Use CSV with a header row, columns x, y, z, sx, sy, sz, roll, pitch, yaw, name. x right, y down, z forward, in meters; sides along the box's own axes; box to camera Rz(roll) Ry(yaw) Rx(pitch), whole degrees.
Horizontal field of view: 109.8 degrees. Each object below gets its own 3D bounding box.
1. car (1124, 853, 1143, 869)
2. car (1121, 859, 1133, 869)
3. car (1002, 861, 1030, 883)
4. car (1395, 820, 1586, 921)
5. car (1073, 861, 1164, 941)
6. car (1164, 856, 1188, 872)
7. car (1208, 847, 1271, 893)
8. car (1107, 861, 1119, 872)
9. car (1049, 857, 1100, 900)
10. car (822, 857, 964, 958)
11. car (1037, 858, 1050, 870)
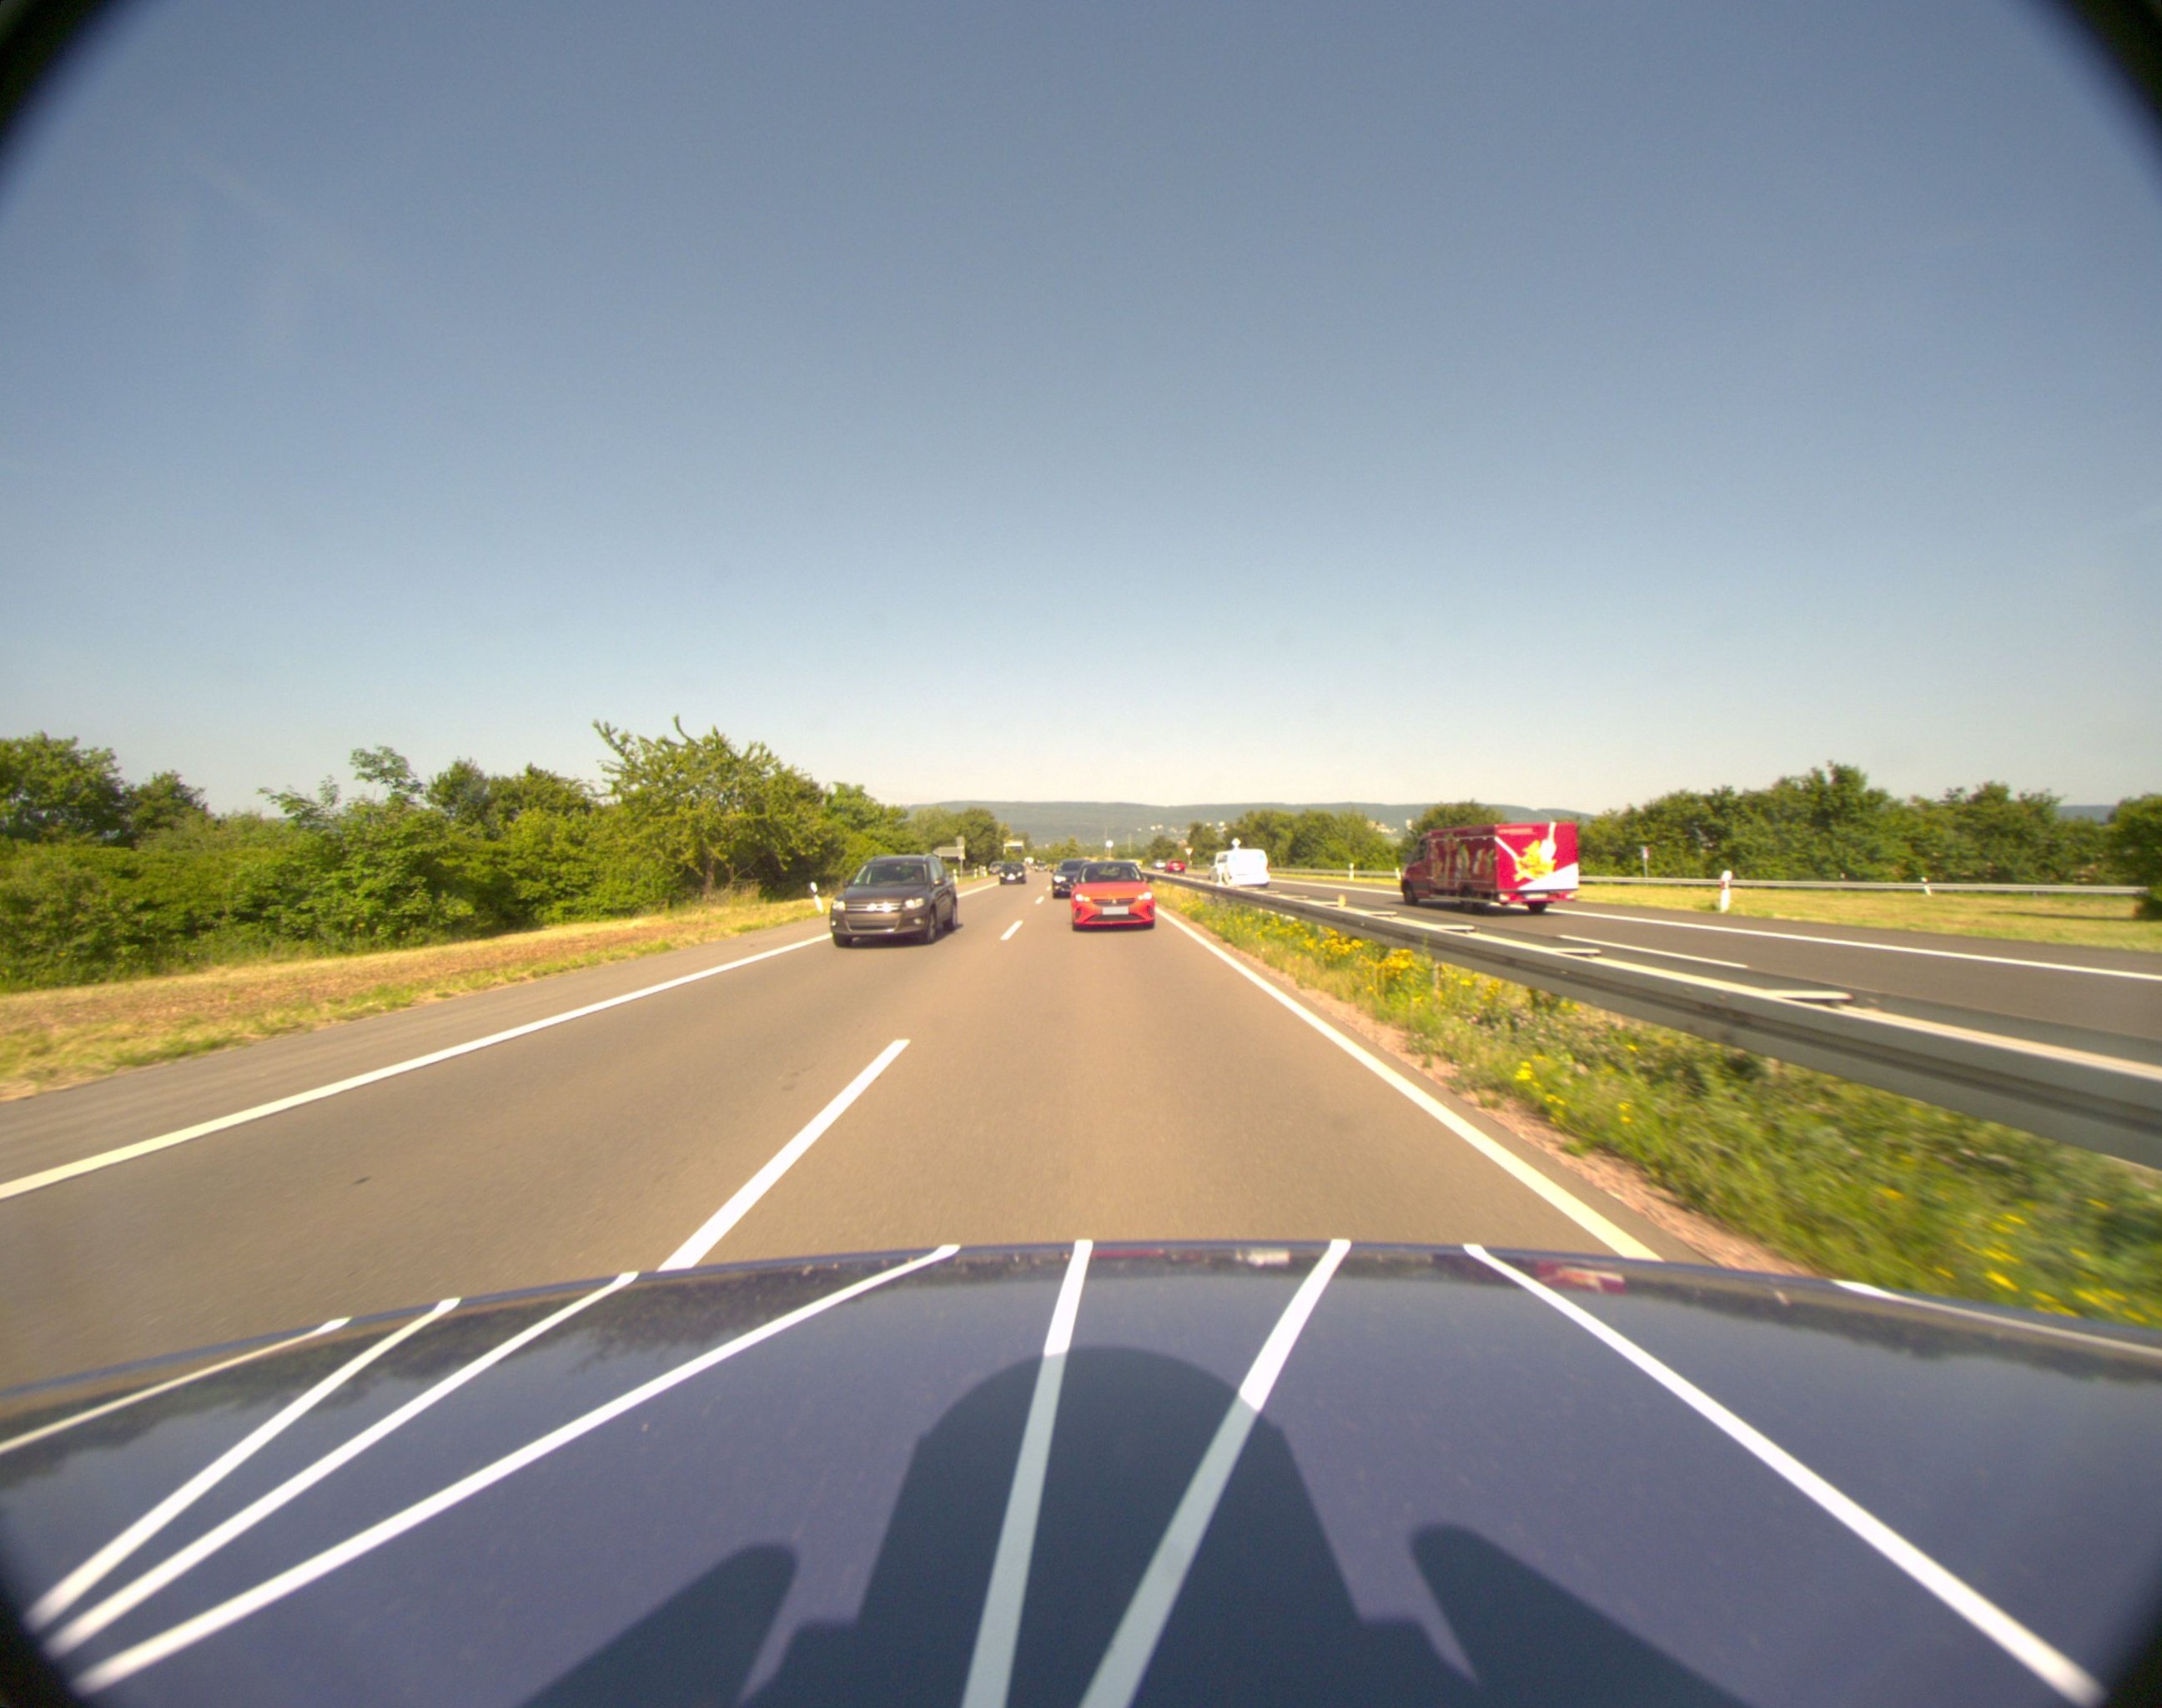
x,y,z,sx,sy,sz,roll,pitch,yaw,name
5.949,0.786,86.620,1.864,1.656,3.999,-2,1,1,car
8.199,1.809,135.114,1.864,1.656,3.999,-2,1,1,car
-4.255,1.140,50.265,1.601,1.241,3.999,-2,1,-1,car
11.092,0.379,21.243,2.119,2.361,5.881,-2,0,0,car
0.773,0.933,16.952,1.713,1.429,4.411,-2,1,1,car
10.280,1.073,82.387,1.999,1.630,3.999,-2,1,0,car
7.470,0.697,36.196,1.999,2.002,4.517,-2,1,0,car
5.221,2.045,124.195,1.864,1.656,3.999,-2,1,1,car
-0.213,0.903,30.025,1.788,1.524,4.375,-2,0,1,car
-3.575,0.928,15.232,1.790,1.637,4.147,-2,1,0,car
-5.806,1.567,118.009,1.768,1.652,3.999,-2,1,-1,car
